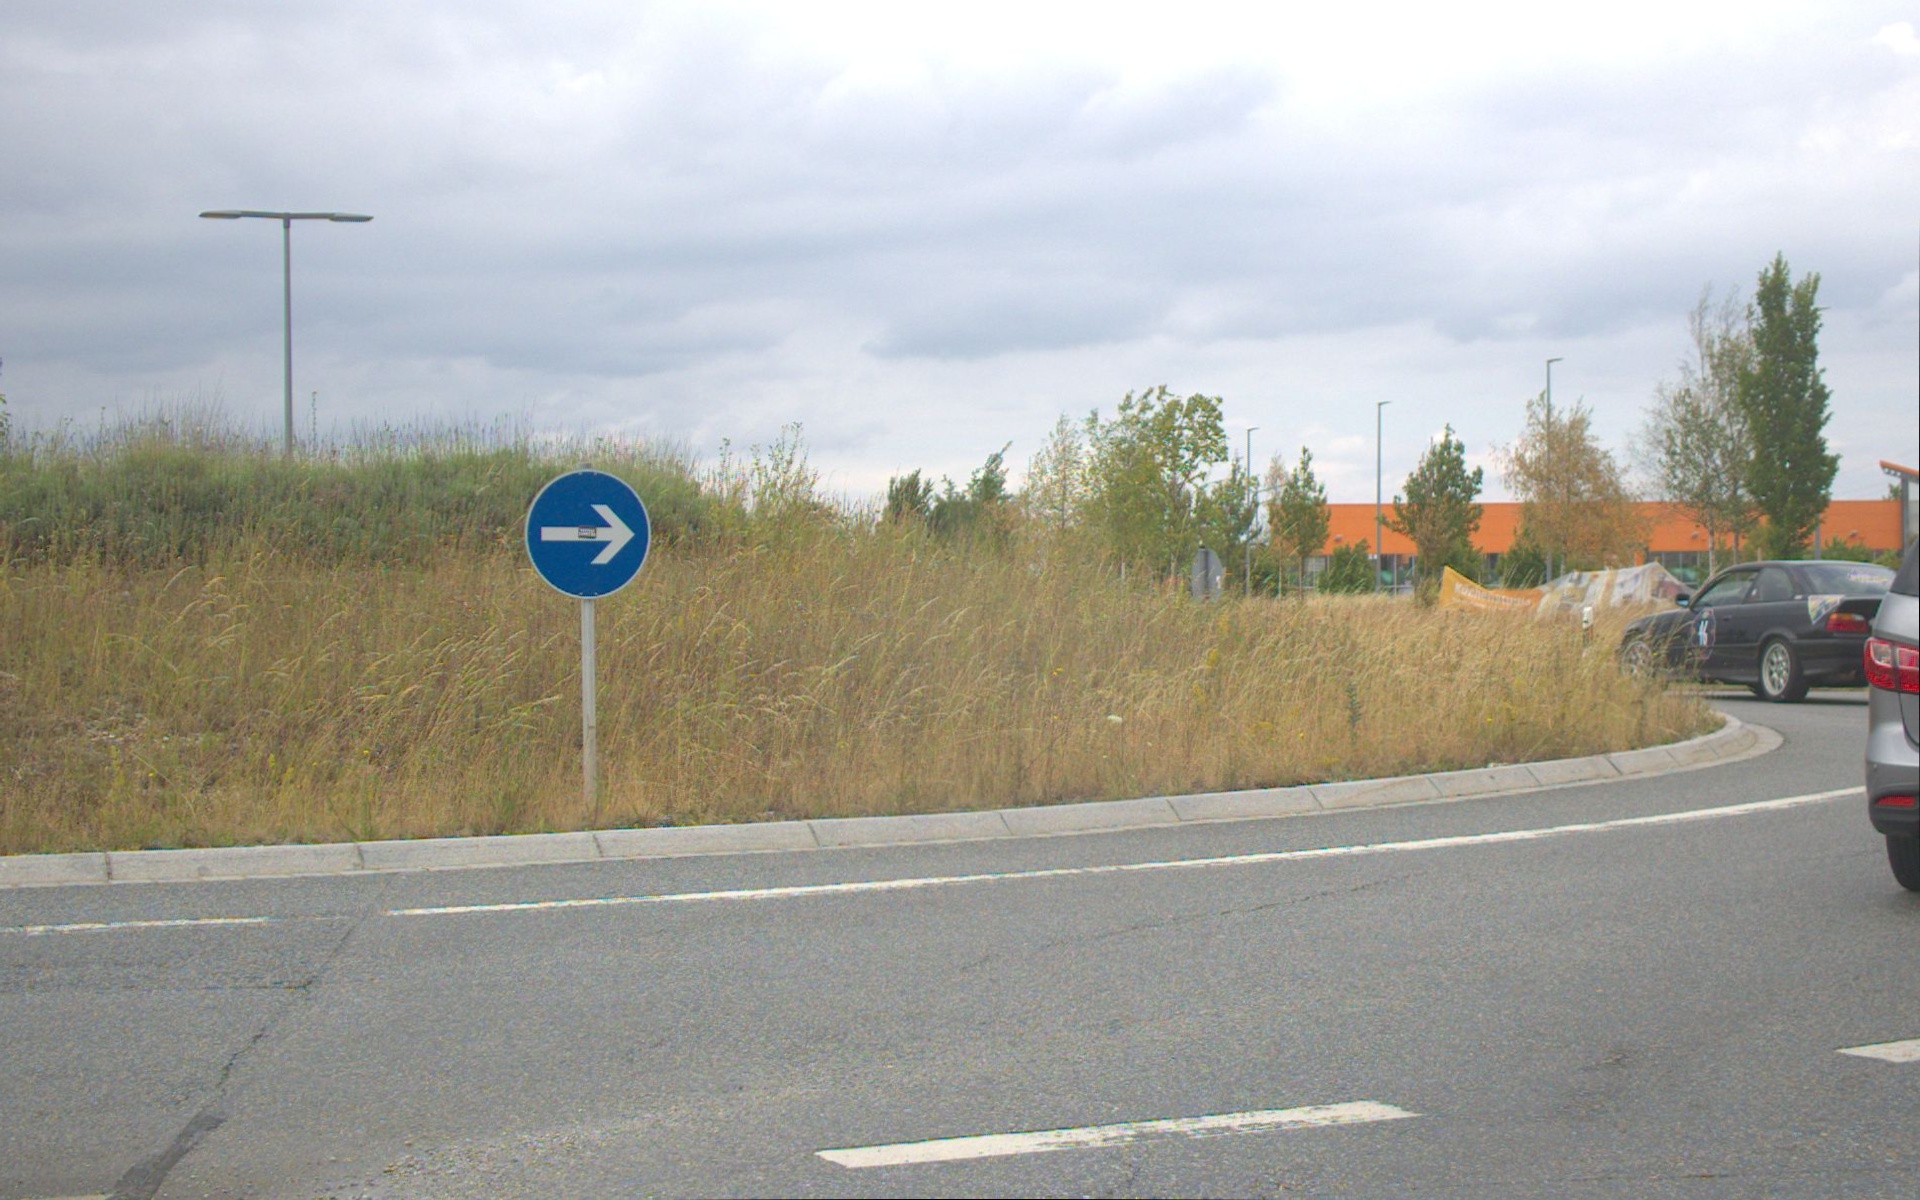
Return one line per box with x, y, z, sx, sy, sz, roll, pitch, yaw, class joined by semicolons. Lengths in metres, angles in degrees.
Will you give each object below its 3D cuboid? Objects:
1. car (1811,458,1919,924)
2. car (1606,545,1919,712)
4.832;0.256;13.231;1.741;1.593;3.990;3;4;34;car
7.847;0.220;32.720;1.737;1.399;3.999;0;2;-16;car
